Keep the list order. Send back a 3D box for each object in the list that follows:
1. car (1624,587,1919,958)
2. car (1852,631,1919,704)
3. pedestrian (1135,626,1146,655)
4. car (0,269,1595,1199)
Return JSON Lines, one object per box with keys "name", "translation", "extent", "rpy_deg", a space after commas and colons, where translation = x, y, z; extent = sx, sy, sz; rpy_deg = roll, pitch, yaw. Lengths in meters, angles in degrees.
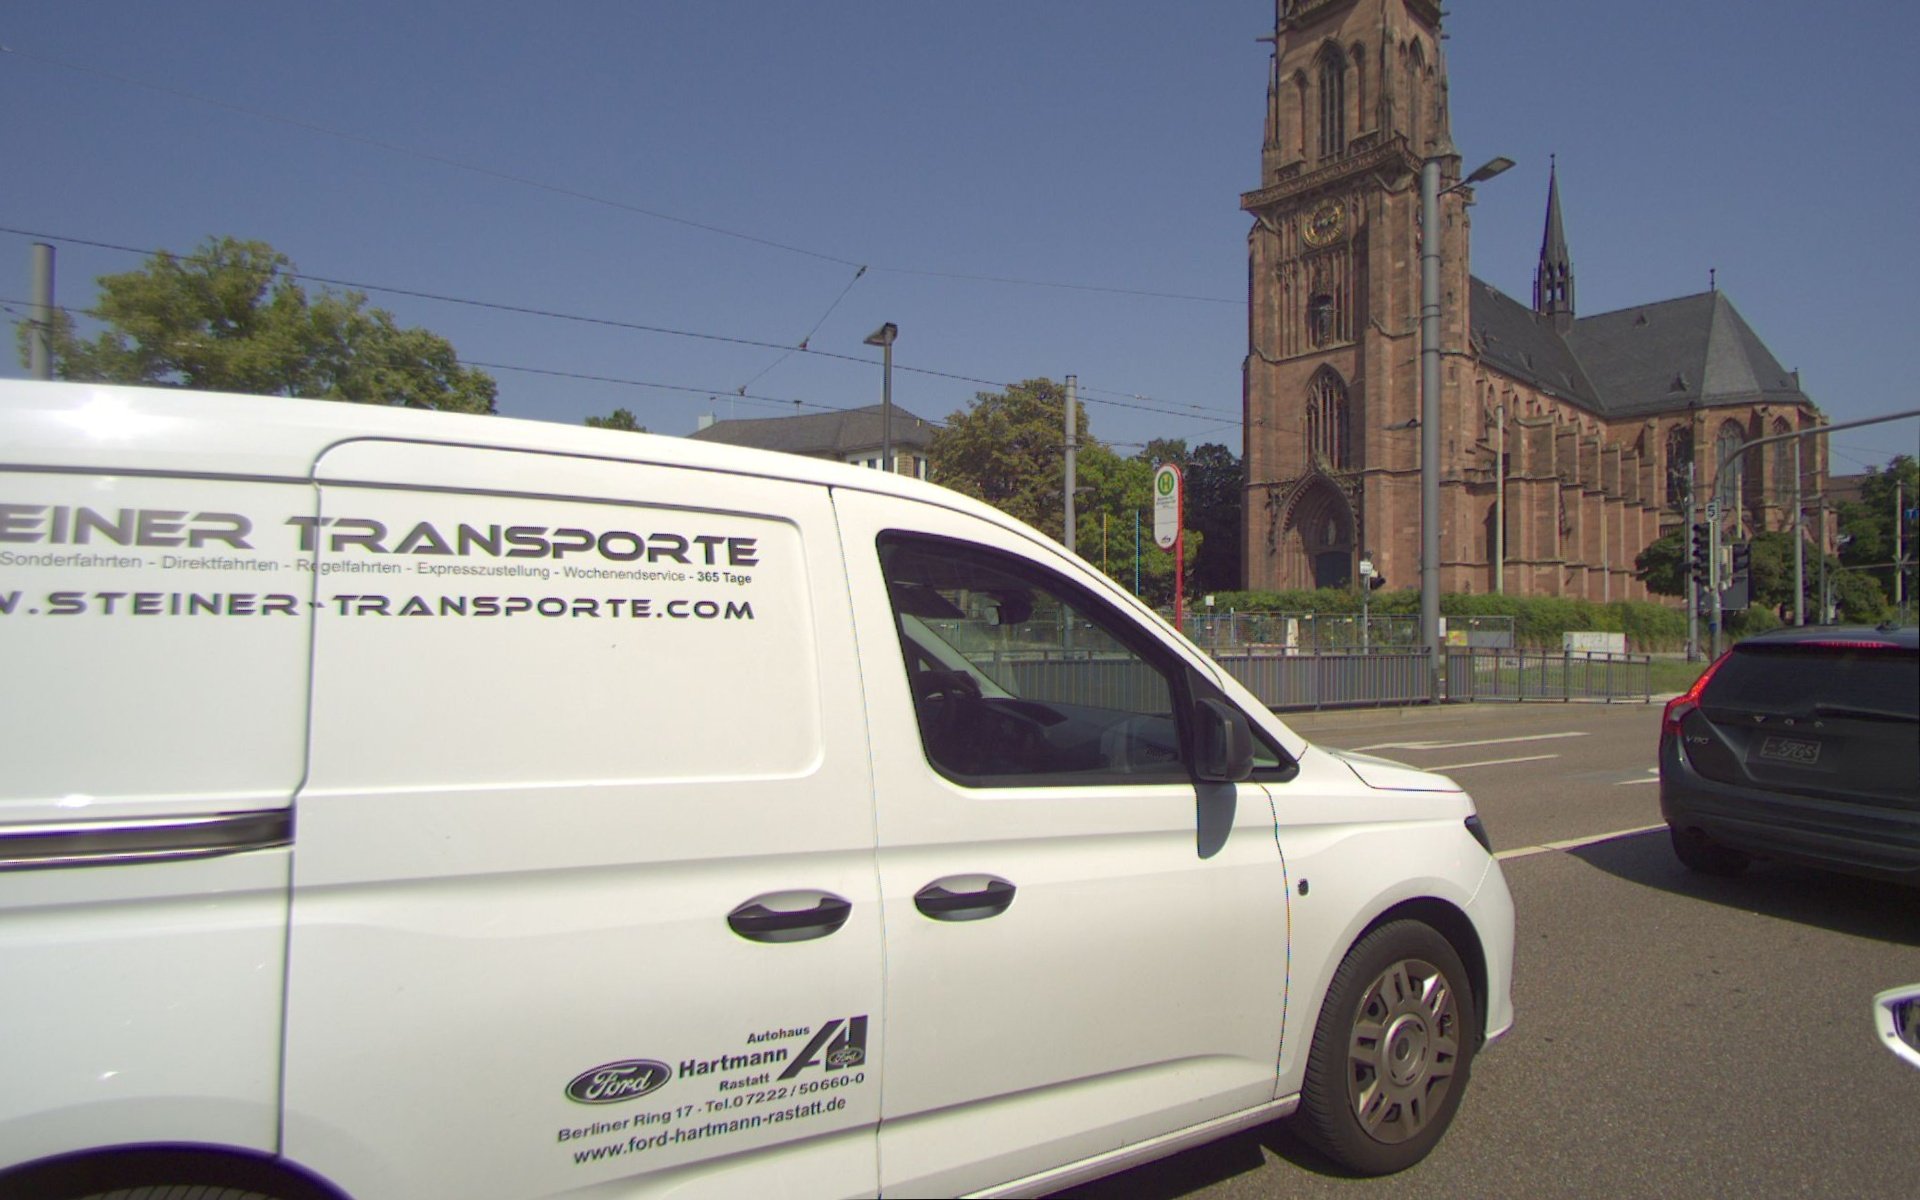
{"name": "car", "translation": [5.908, 0.797, 5.815], "extent": [4.257, 1.636, 1.739], "rpy_deg": [1, 0, -30]}
{"name": "car", "translation": [20.998, 1.396, 21.495], "extent": [4.524, 1.454, 1.736], "rpy_deg": [1, -3, -34]}
{"name": "pedestrian", "translation": [9.533, 2.151, 53.167], "extent": [0.533, 1.551, 0.436], "rpy_deg": [0, -1, 5]}
{"name": "car", "translation": [-0.349, 0.555, 2.690], "extent": [4.189, 1.844, 1.739], "rpy_deg": [1, -1, -30]}
